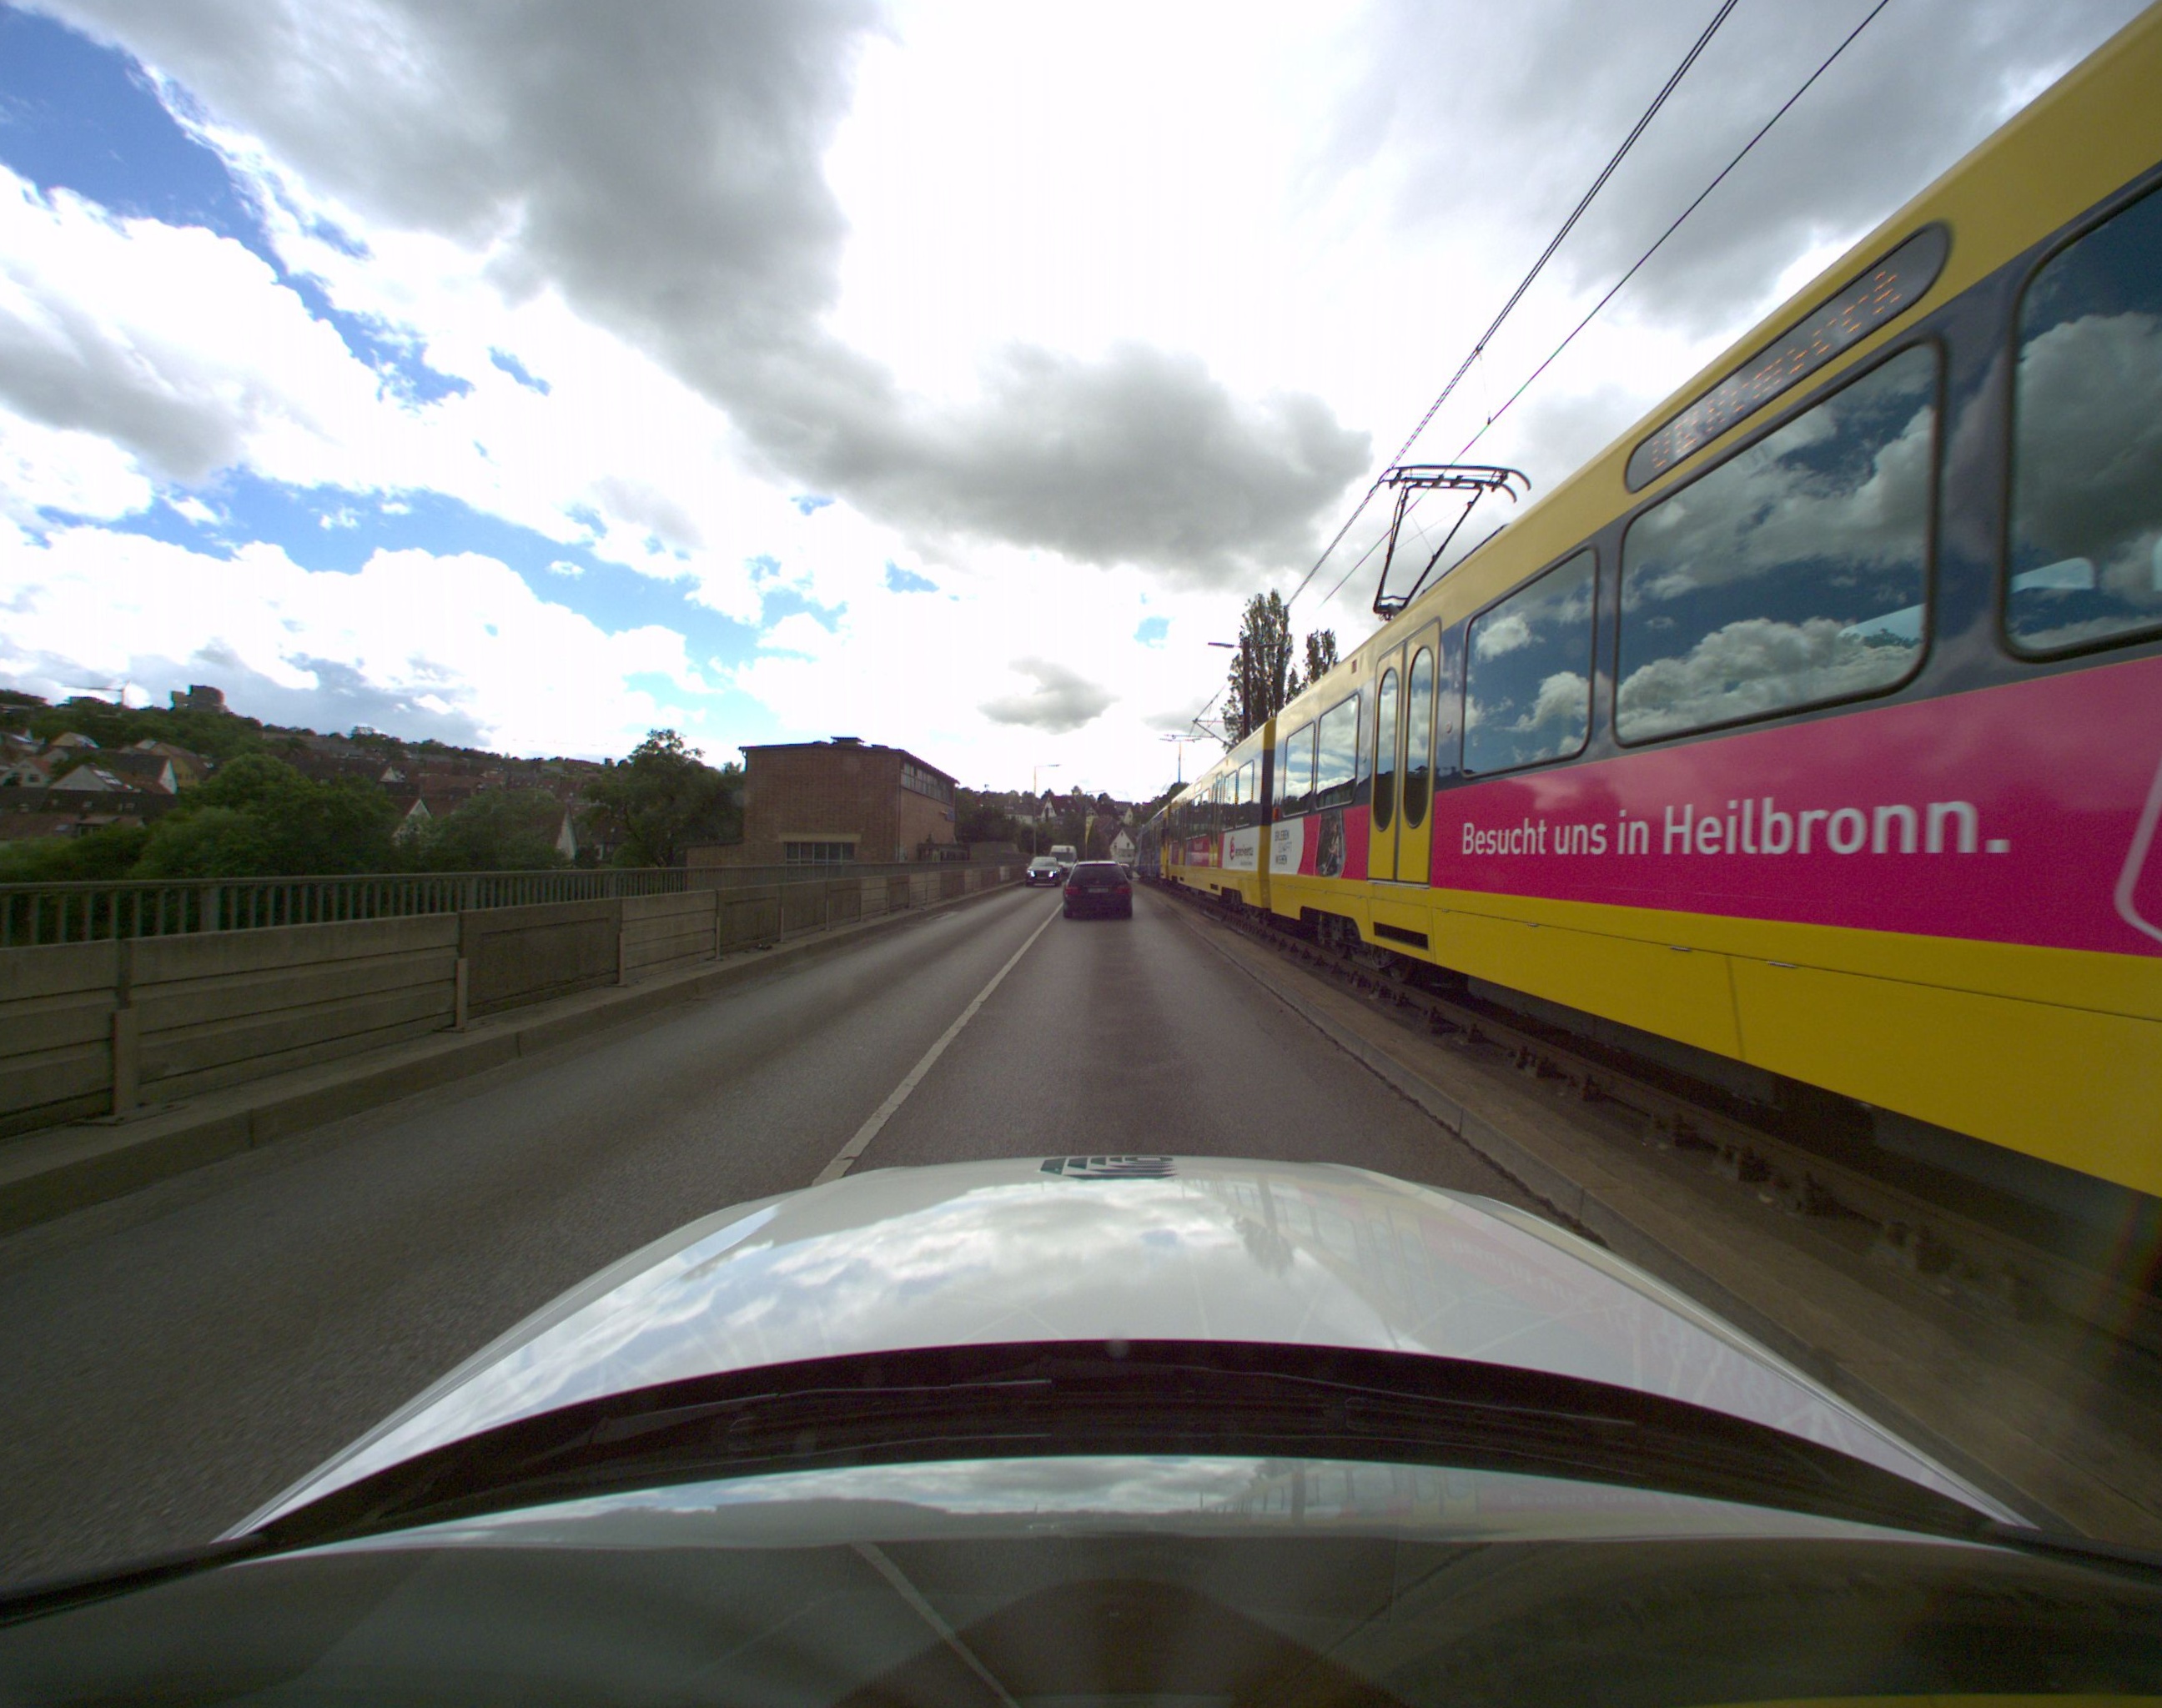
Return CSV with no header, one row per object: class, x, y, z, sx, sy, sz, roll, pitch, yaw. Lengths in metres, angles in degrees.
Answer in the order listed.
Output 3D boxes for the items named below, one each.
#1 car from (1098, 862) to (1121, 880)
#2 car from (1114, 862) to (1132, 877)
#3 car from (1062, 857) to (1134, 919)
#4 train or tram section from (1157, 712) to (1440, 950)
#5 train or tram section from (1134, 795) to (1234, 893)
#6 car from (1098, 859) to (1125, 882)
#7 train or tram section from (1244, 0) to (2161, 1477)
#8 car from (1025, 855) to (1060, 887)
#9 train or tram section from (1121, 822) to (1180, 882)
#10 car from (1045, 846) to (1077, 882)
car,2.539,1.463,72.433,1.784,1.555,4.391,0,-1,5
car,4.540,1.688,87.690,1.762,1.555,4.245,1,-1,4
car,0.440,0.853,22.284,1.753,1.516,4.442,-1,-1,0
train or tram section,4.210,-0.341,21.816,2.820,3.580,18.669,-1,0,1
train or tram section,4.573,-0.259,41.105,2.775,3.656,19.894,-2,-1,1
car,2.199,1.151,58.882,1.765,1.555,4.239,-1,0,0
train or tram section,3.814,-0.406,3.176,2.872,3.509,18.669,-1,0,1
car,-2.142,0.928,46.215,1.709,1.645,4.001,-1,0,1
train or tram section,4.864,0.001,61.040,2.784,3.764,19.890,1,-1,0
car,-1.456,0.678,61.485,2.026,2.561,7.009,-1,0,1
